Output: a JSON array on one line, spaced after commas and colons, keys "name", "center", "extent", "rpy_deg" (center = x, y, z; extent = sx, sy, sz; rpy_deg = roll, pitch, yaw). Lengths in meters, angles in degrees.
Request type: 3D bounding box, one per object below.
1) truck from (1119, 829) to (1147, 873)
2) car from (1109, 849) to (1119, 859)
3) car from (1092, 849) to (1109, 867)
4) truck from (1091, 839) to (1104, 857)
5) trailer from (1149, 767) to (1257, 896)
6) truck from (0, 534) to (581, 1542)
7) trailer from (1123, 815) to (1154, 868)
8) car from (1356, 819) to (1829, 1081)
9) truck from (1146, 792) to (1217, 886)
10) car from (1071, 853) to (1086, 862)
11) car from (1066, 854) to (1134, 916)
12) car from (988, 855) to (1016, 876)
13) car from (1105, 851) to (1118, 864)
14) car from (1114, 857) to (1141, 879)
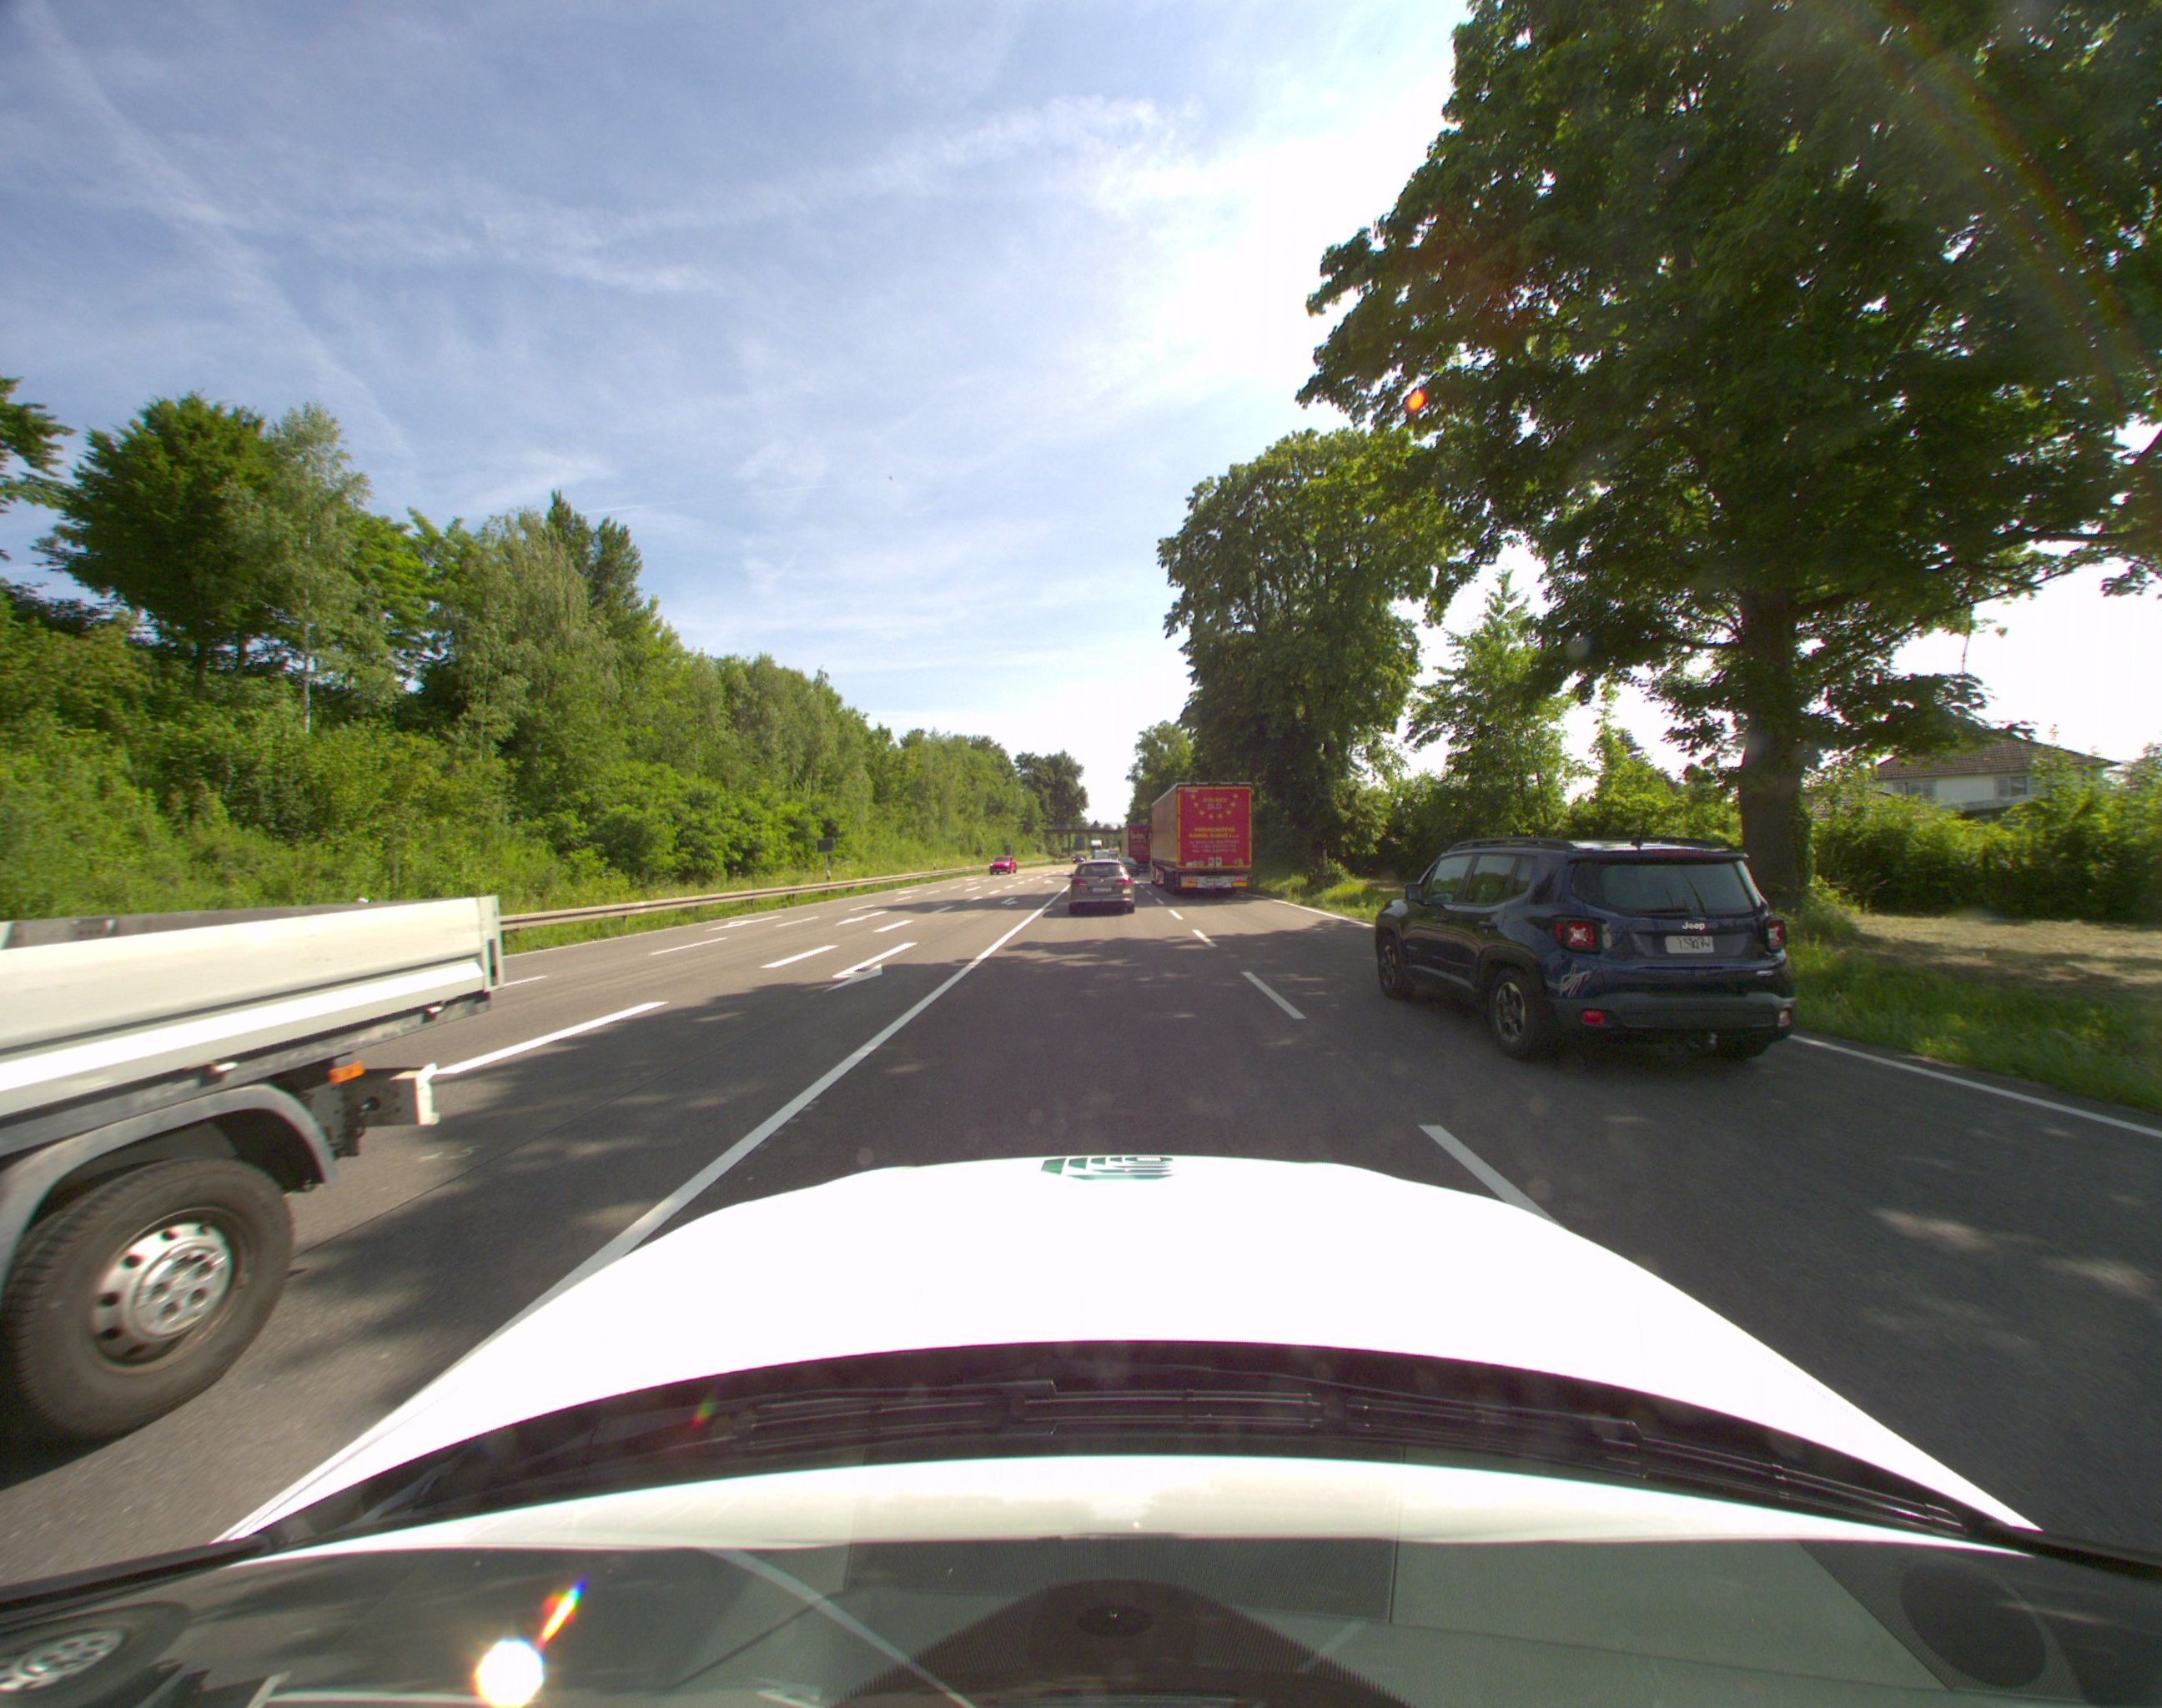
[{"name": "truck", "center": [5.056, -0.258, 79.339], "extent": [2.396, 4.128, 5.526], "rpy_deg": [-2, -1, 3]}, {"name": "car", "center": [7.026, 0.029, 172.956], "extent": [1.986, 2.014, 4.001], "rpy_deg": [-2, -1, 1]}, {"name": "car", "center": [2.121, 0.443, 88.009], "extent": [1.764, 1.936, 3.978], "rpy_deg": [-2, -1, 1]}, {"name": "truck", "center": [3.952, -1.429, 194.120], "extent": [2.764, 3.931, 9.467], "rpy_deg": [-2, -1, 1]}, {"name": "trailer", "center": [4.697, -0.706, 34.187], "extent": [2.829, 4.365, 13.170], "rpy_deg": [0, -1, 1]}, {"name": "truck", "center": [-3.603, 0.428, 0.576], "extent": [2.218, 2.268, 6.503], "rpy_deg": [-2, -1, 2]}, {"name": "trailer", "center": [5.116, -0.970, 72.945], "extent": [2.385, 4.243, 13.089], "rpy_deg": [-2, -1, 4]}, {"name": "car", "center": [4.037, 0.649, 7.357], "extent": [1.764, 1.654, 4.001], "rpy_deg": [-2, -1, 1]}, {"name": "truck", "center": [4.830, -0.657, 40.134], "extent": [2.860, 4.281, 5.840], "rpy_deg": [0, -1, 1]}, {"name": "car", "center": [-0.348, 0.546, 129.048], "extent": [1.954, 1.415, 4.005], "rpy_deg": [-2, -1, 4]}, {"name": "car", "center": [0.543, 0.817, 22.873], "extent": [1.685, 1.513, 4.001], "rpy_deg": [-2, -1, 1]}, {"name": "car", "center": [-7.393, 1.073, 76.485], "extent": [1.966, 1.796, 4.810], "rpy_deg": [-2, -1, 1]}, {"name": "car", "center": [4.996, 0.529, 132.480], "extent": [1.986, 2.014, 4.001], "rpy_deg": [-2, -1, 1]}, {"name": "car", "center": [3.348, 0.999, 59.050], "extent": [1.764, 1.513, 4.001], "rpy_deg": [-2, -1, 1]}]
